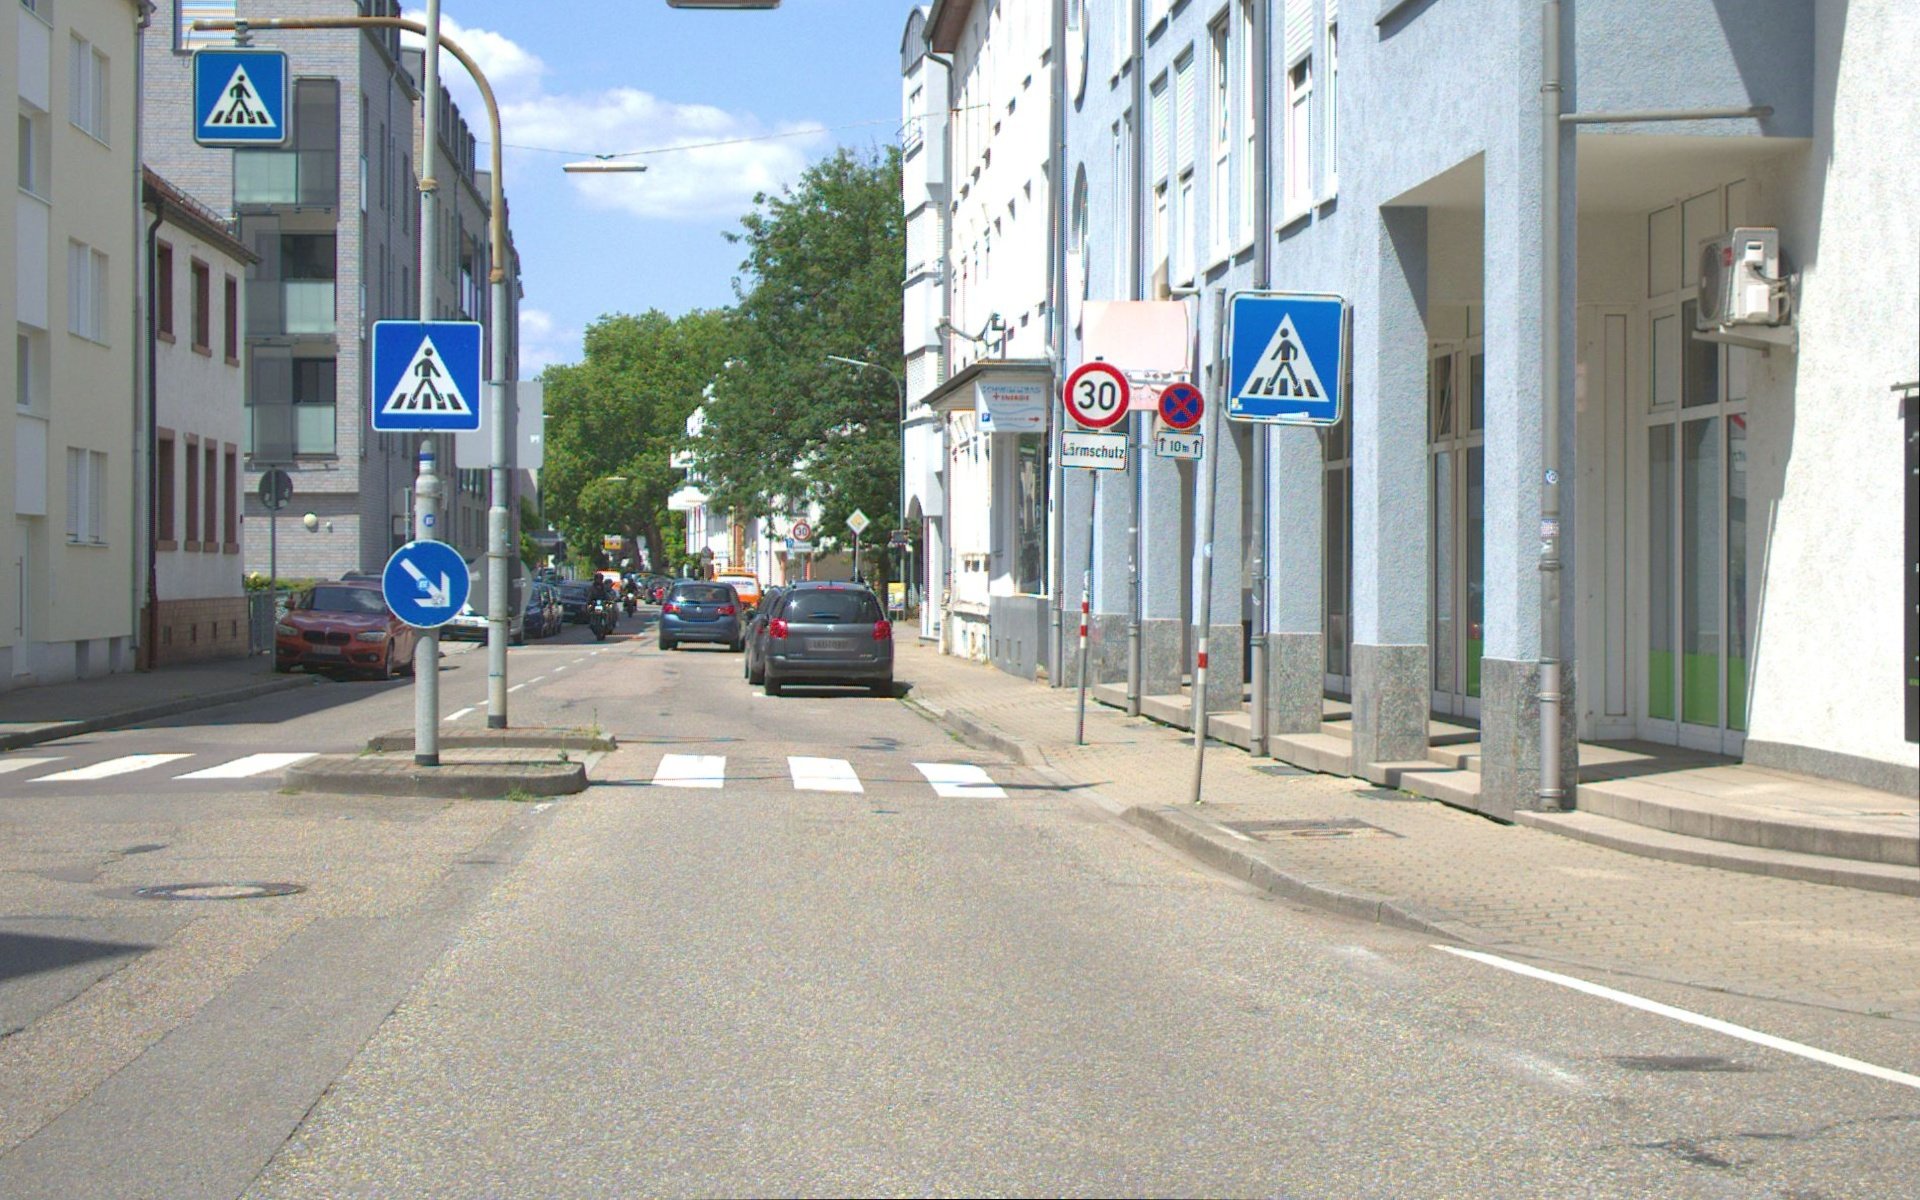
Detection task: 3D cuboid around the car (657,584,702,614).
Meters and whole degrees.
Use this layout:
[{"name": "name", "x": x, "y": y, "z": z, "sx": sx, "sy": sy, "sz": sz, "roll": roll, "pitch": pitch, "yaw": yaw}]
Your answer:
[{"name": "car", "x": -15.844, "y": -0.082, "z": 194.019, "sx": 1.993, "sy": 1.612, "sz": 4.001, "roll": 1, "pitch": 0, "yaw": -12}]

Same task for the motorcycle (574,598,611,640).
[{"name": "motorcycle", "x": -9.527, "y": 0.496, "z": 89.129, "sx": 0.713, "sy": 1.025, "sz": 2.239, "roll": 0, "pitch": 1, "yaw": 0}]

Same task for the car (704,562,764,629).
[{"name": "car", "x": -6.994, "y": -0.155, "z": 106.471, "sx": 1.839, "sy": 2.007, "sz": 4.001, "roll": 0, "pitch": 1, "yaw": -4}]

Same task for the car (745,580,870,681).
[{"name": "car", "x": -2.317, "y": 0.420, "z": 51.430, "sx": 1.729, "sy": 1.415, "sz": 4.545, "roll": 0, "pitch": 1, "yaw": -4}]

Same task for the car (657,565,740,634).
[{"name": "car", "x": -5.522, "y": -0.030, "z": 72.866, "sx": 1.715, "sy": 1.397, "sz": 4.001, "roll": 0, "pitch": 1, "yaw": -4}]

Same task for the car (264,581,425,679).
[{"name": "car", "x": -9.435, "y": 0.434, "z": 53.002, "sx": 1.834, "sy": 1.412, "sz": 4.290, "roll": 0, "pitch": 1, "yaw": -2}]

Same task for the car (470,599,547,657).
[{"name": "car", "x": -12.285, "y": 0.743, "z": 93.749, "sx": 1.723, "sy": 1.451, "sz": 4.006, "roll": 2, "pitch": 0, "yaw": -3}]

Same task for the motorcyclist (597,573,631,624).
[{"name": "motorcyclist", "x": -10.025, "y": -0.050, "z": 99.556, "sx": 0.916, "sy": 1.475, "sz": 1.203, "roll": 1, "pitch": 1, "yaw": -4}]

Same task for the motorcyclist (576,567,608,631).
[{"name": "motorcyclist", "x": -9.531, "y": -0.021, "z": 89.135, "sx": 0.713, "sy": 1.629, "sz": 1.069, "roll": 0, "pitch": 1, "yaw": 0}]

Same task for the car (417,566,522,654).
[{"name": "car", "x": -11.337, "y": 0.211, "z": 79.647, "sx": 1.757, "sy": 1.885, "sz": 4.336, "roll": 3, "pitch": 1, "yaw": 0}]

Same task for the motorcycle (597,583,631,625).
[{"name": "motorcycle", "x": -10.019, "y": 0.117, "z": 99.569, "sx": 0.896, "sy": 1.172, "sz": 2.208, "roll": 1, "pitch": 1, "yaw": -4}]

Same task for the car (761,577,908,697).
[{"name": "car", "x": -1.717, "y": 0.461, "z": 45.918, "sx": 1.709, "sy": 1.503, "sz": 4.001, "roll": 0, "pitch": 1, "yaw": -6}]
